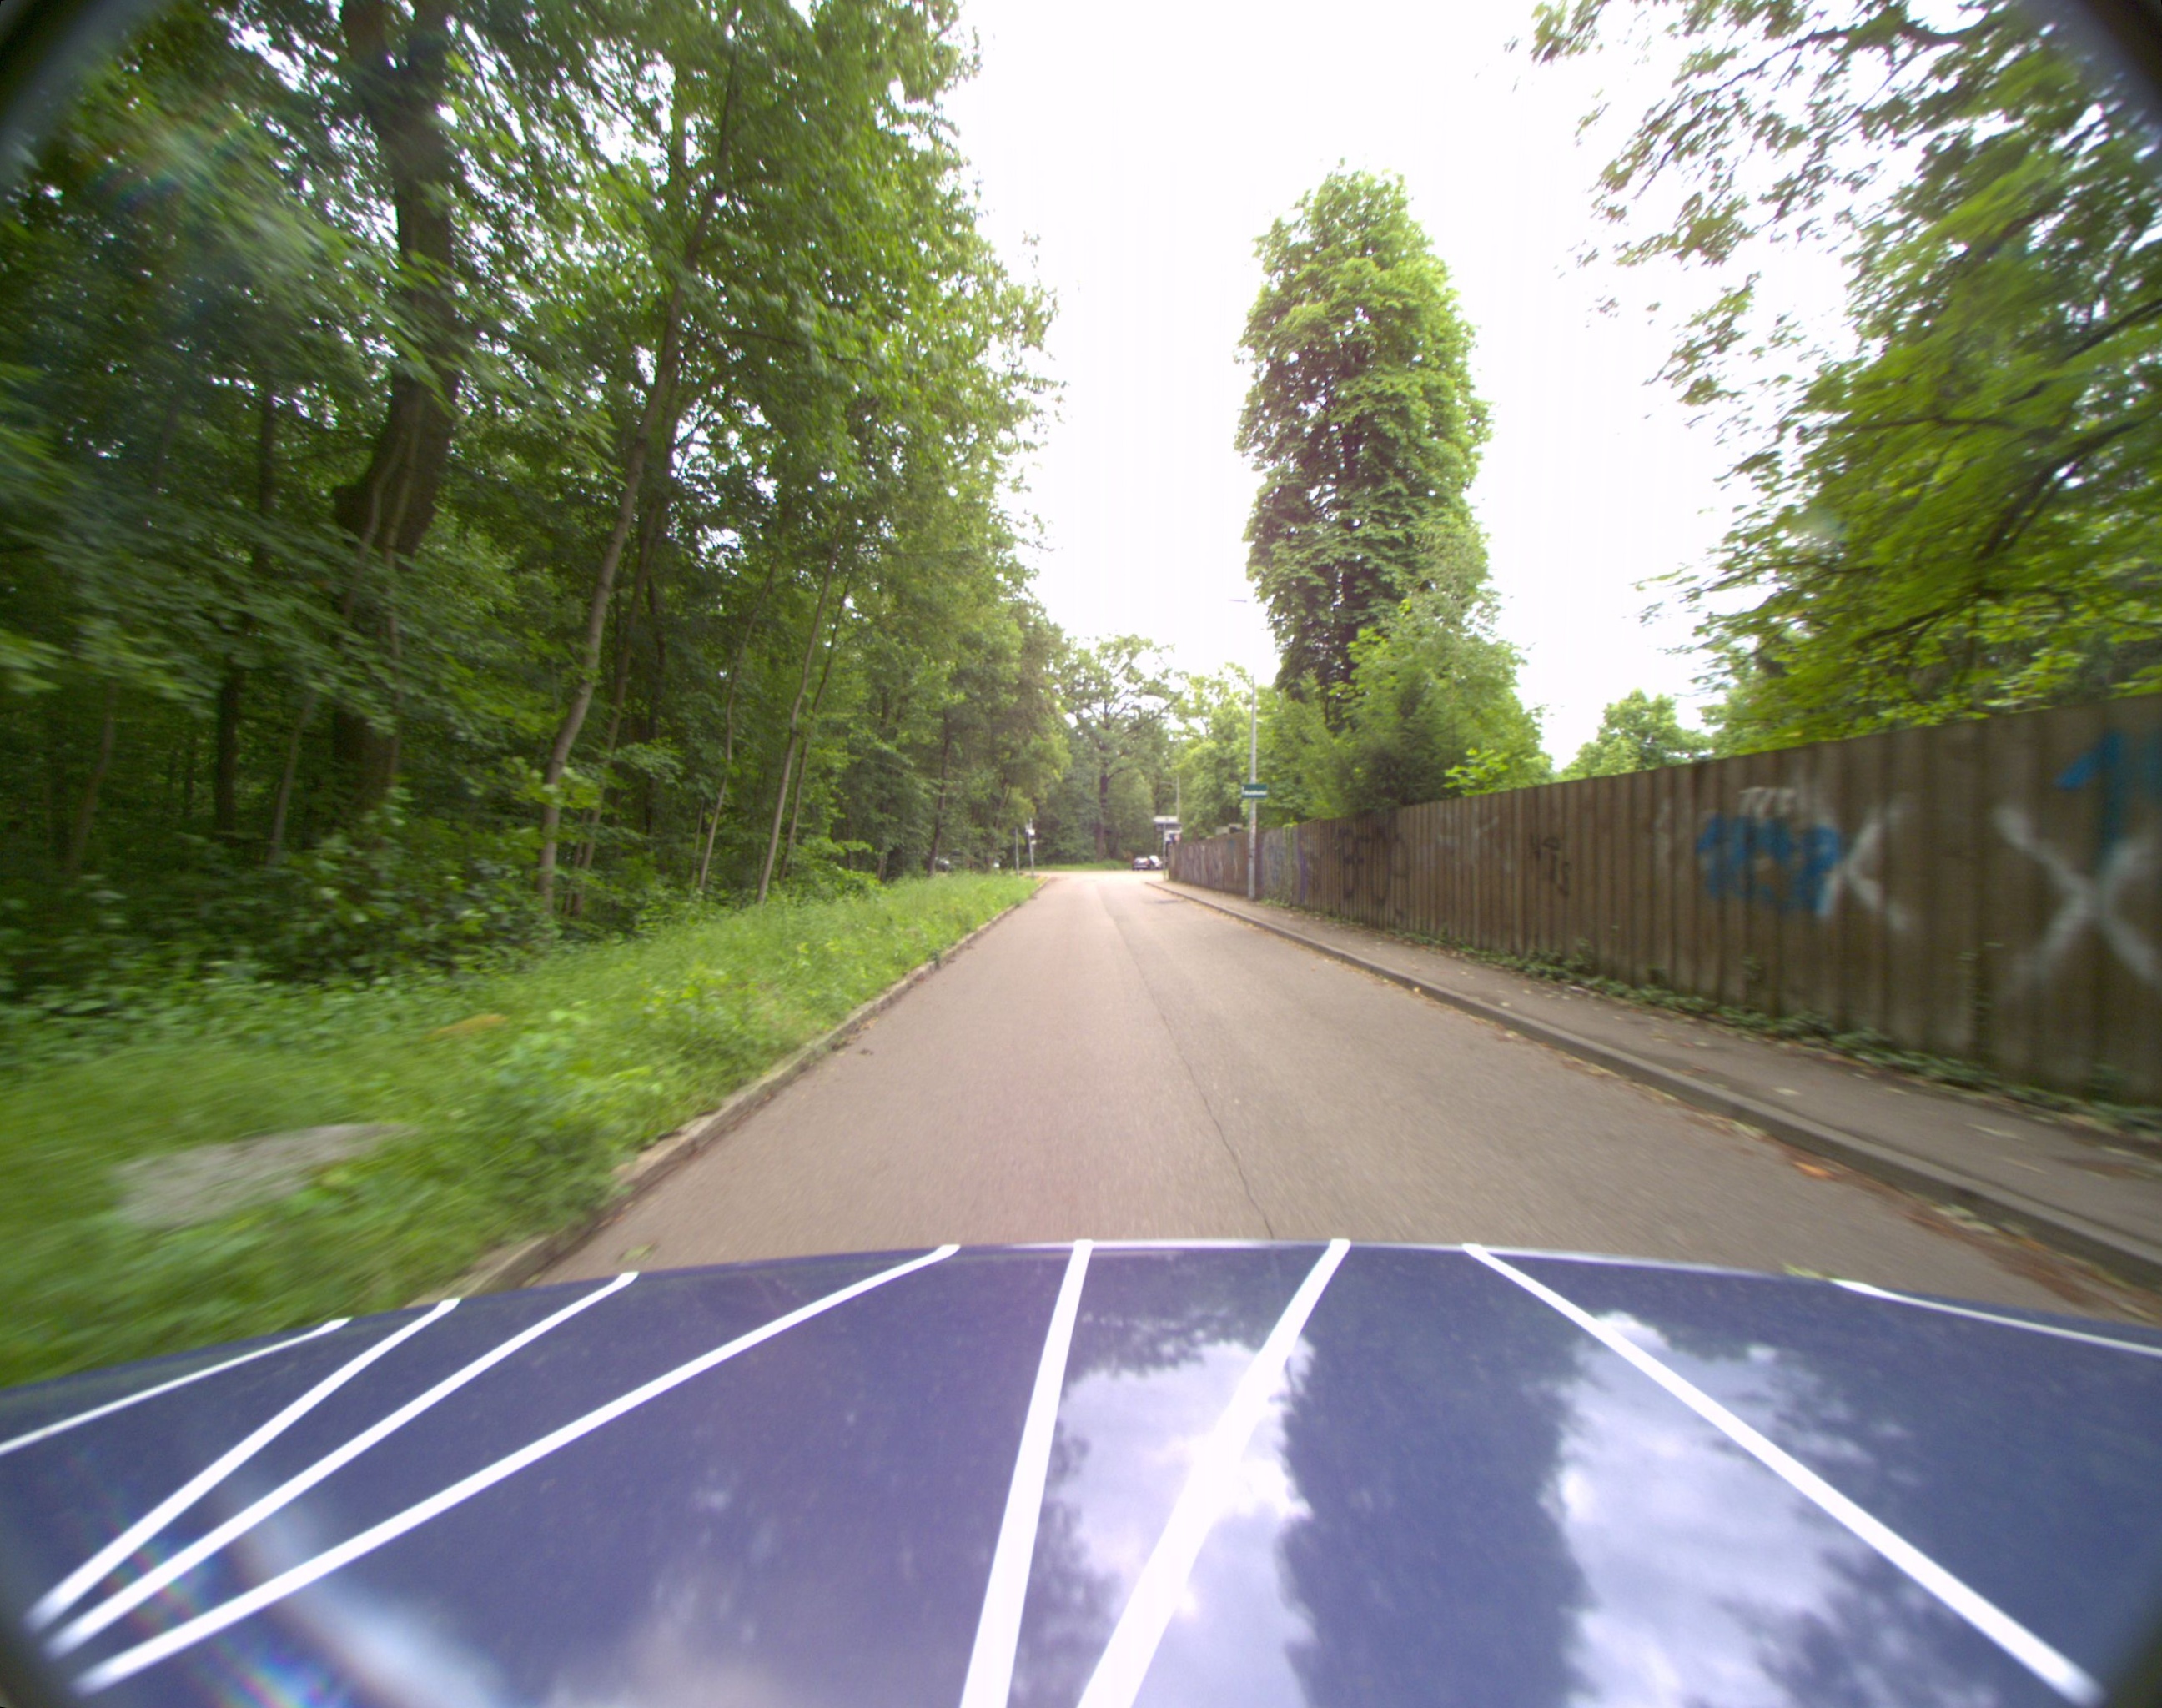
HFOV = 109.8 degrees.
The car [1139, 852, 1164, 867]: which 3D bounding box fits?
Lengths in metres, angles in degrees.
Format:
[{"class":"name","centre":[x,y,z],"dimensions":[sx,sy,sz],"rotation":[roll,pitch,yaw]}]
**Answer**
[{"class":"car","centre":[7.007,0.596,75.515],"dimensions":[1.996,1.411,4.005],"rotation":[-1,-1,12]}]

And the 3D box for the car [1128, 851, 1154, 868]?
[{"class":"car","centre":[5.604,0.505,70.739],"dimensions":[1.769,1.486,4.331],"rotation":[0,0,12]}]

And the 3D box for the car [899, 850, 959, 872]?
[{"class":"car","centre":[-11.666,0.498,58.350],"dimensions":[4.093,1.624,1.817],"rotation":[1,1,11]}]

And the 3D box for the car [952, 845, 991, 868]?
[{"class":"car","centre":[-9.581,0.218,66.867],"dimensions":[1.887,1.966,4.522],"rotation":[0,0,13]}]
